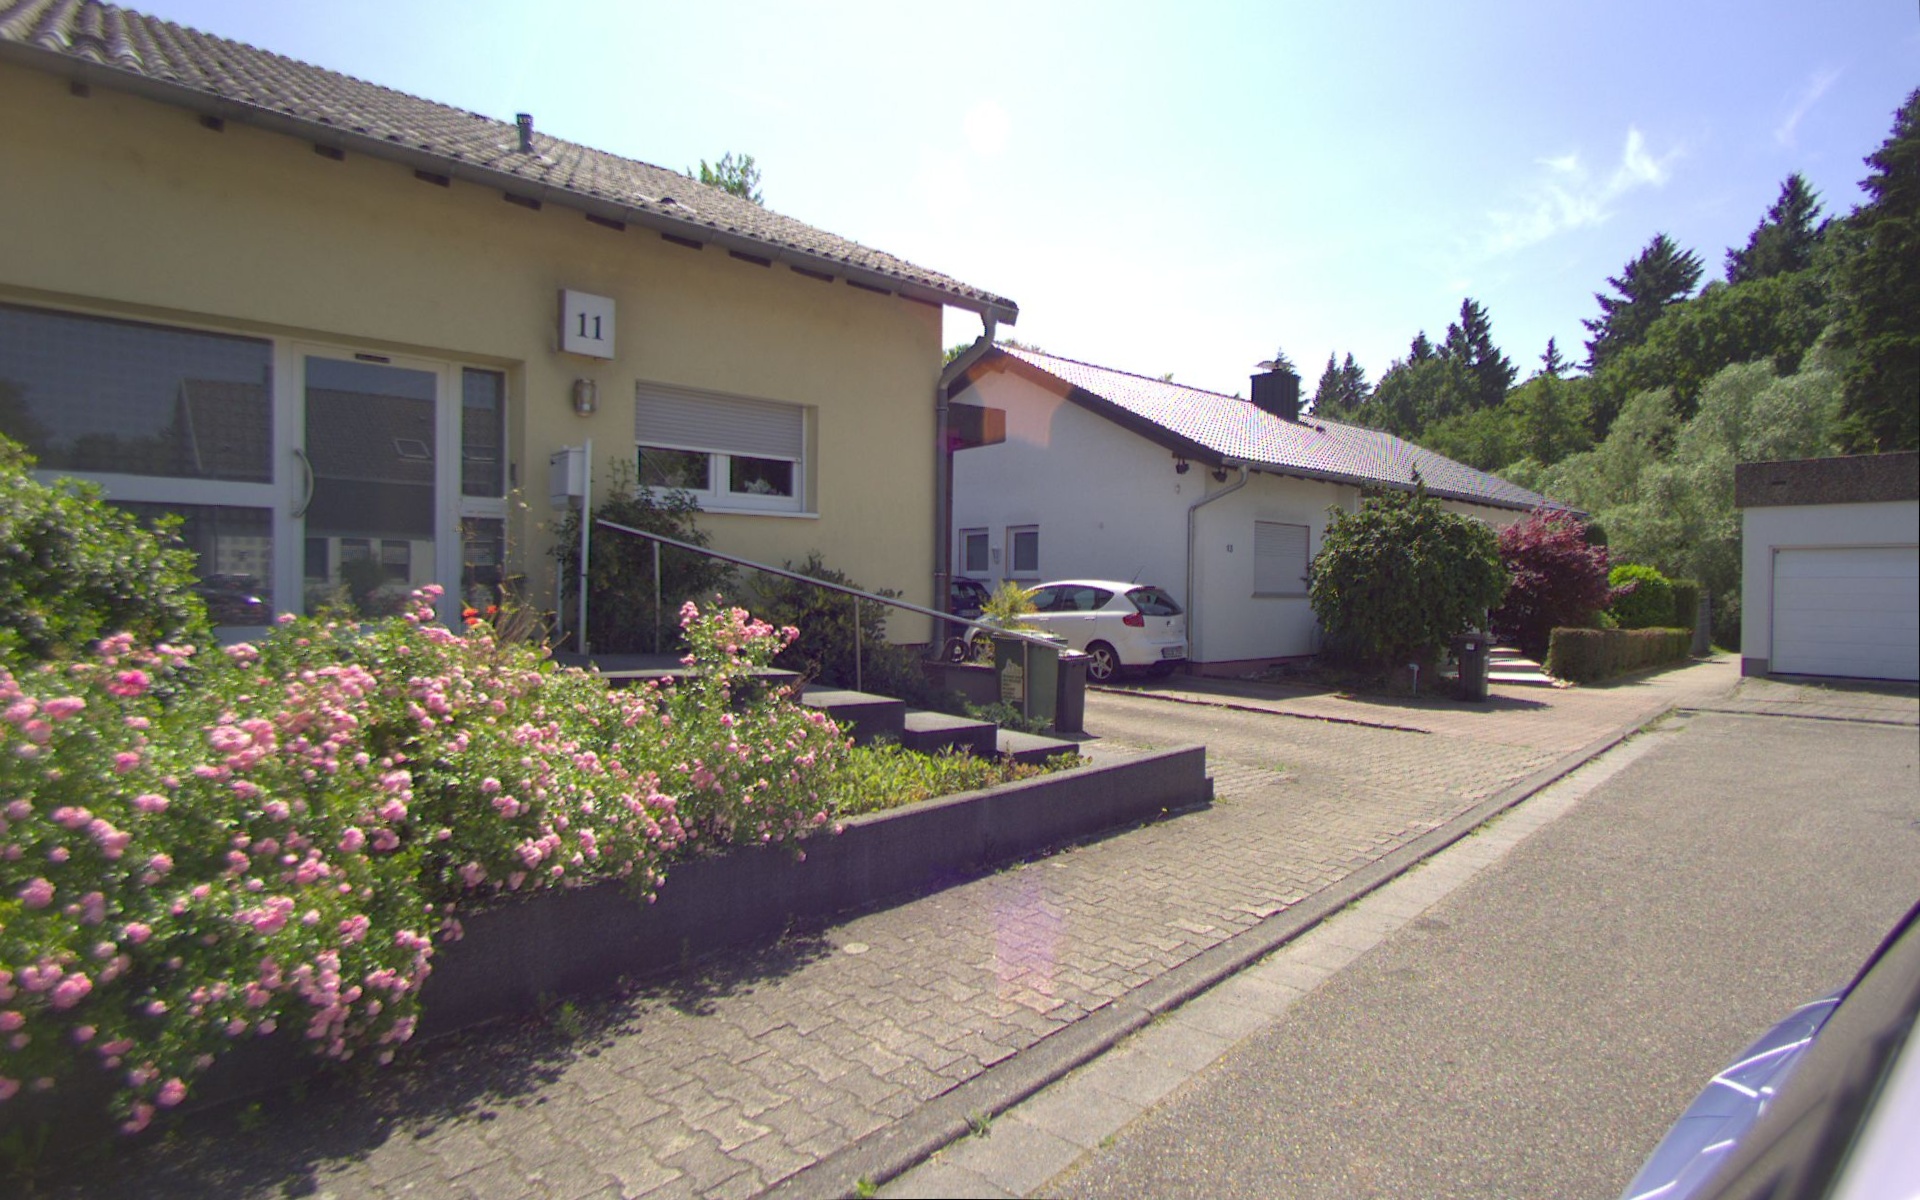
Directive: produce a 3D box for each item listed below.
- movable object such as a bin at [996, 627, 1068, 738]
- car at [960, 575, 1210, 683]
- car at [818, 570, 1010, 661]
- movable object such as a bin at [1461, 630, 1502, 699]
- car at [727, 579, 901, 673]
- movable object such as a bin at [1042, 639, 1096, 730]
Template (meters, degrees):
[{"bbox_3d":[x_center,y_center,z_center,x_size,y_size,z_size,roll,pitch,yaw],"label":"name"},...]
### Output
[{"bbox_3d":[0.740,0.821,10.334,0.490,1.054,0.584,1,1,42],"label":"movable object such as a bin"},{"bbox_3d":[1.987,0.382,16.943,1.723,1.588,3.990,0,1,-44],"label":"car"},{"bbox_3d":[-1.025,0.227,20.602,1.895,1.627,3.995,-1,2,-40],"label":"car"},{"bbox_3d":[7.244,0.888,14.058,0.369,0.902,0.390,-1,1,-42],"label":"movable object such as a bin"},{"bbox_3d":[-2.702,0.396,18.303,1.591,1.473,3.250,0,2,-41],"label":"car"},{"bbox_3d":[1.150,0.878,10.688,0.425,0.902,0.401,1,1,42],"label":"movable object such as a bin"}]
